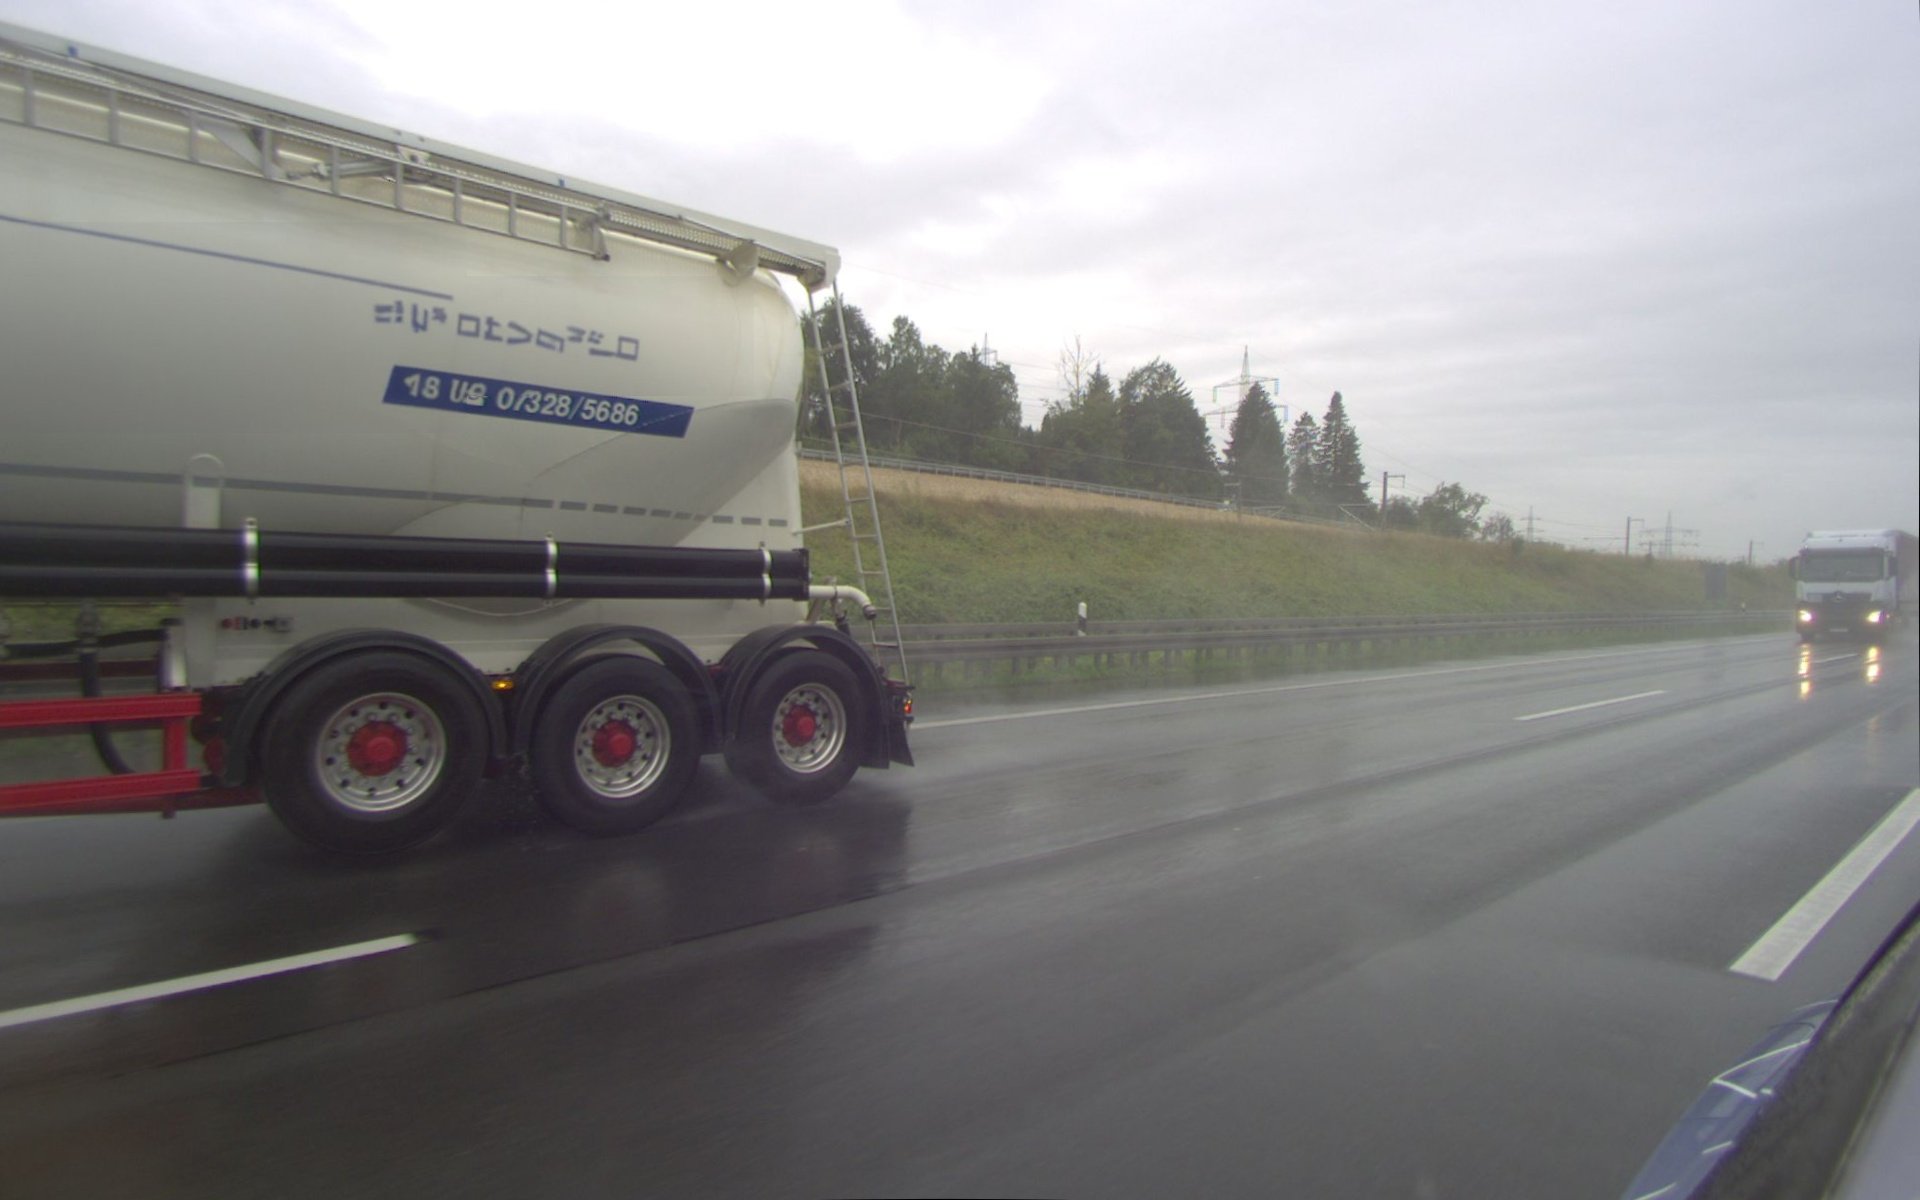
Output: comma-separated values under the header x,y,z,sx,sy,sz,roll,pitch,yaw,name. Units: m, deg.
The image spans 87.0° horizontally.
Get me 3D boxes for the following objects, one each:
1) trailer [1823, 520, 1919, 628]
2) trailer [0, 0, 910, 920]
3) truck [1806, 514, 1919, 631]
x,y,z,sx,sy,sz,roll,pitch,yaw,name
39.188,-0.856,42.168,16.252,3.813,2.484,1,0,-41,trailer
-5.273,-0.683,4.578,10.873,3.931,2.501,1,0,-41,trailer
33.046,-0.900,36.864,6.089,3.938,2.456,1,0,-40,truck
